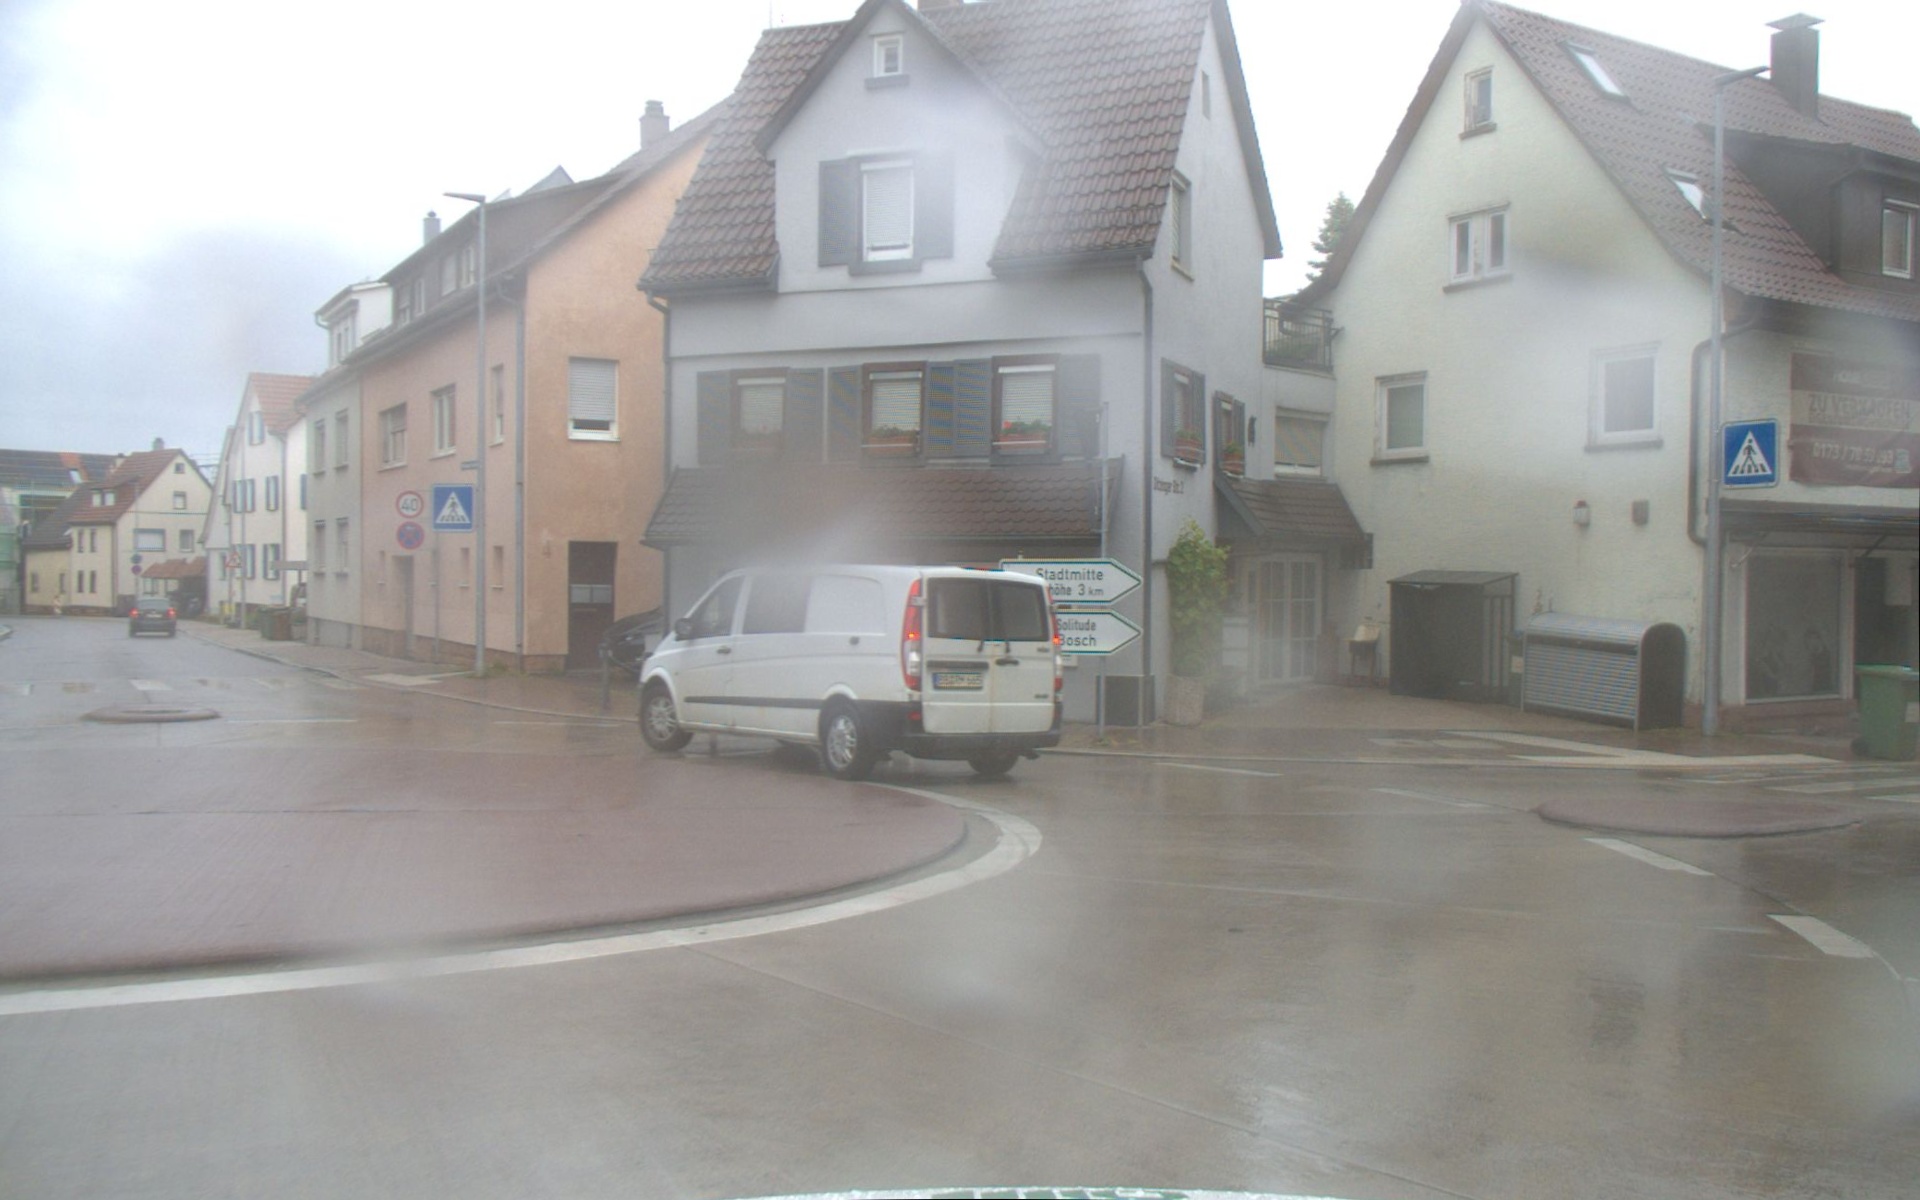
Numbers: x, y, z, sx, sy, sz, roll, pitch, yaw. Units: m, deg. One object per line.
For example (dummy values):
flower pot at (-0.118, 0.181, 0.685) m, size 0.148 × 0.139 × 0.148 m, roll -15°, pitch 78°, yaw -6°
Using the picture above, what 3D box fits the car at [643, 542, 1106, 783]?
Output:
car at (-1.002, 0.549, 15.874) m, size 2.136 × 1.932 × 4.860 m, roll 1°, pitch -1°, yaw -37°

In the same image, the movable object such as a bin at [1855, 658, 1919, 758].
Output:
movable object such as a bin at (11.210, 1.272, 19.674) m, size 0.752 × 1.099 × 0.680 m, roll 2°, pitch 2°, yaw -37°

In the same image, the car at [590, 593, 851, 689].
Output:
car at (-4.040, 0.689, 28.078) m, size 3.953 × 1.512 × 1.976 m, roll 1°, pitch -1°, yaw -35°

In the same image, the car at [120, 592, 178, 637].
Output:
car at (-31.515, 0.587, 64.270) m, size 1.949 × 1.709 × 4.032 m, roll 1°, pitch -1°, yaw -27°
